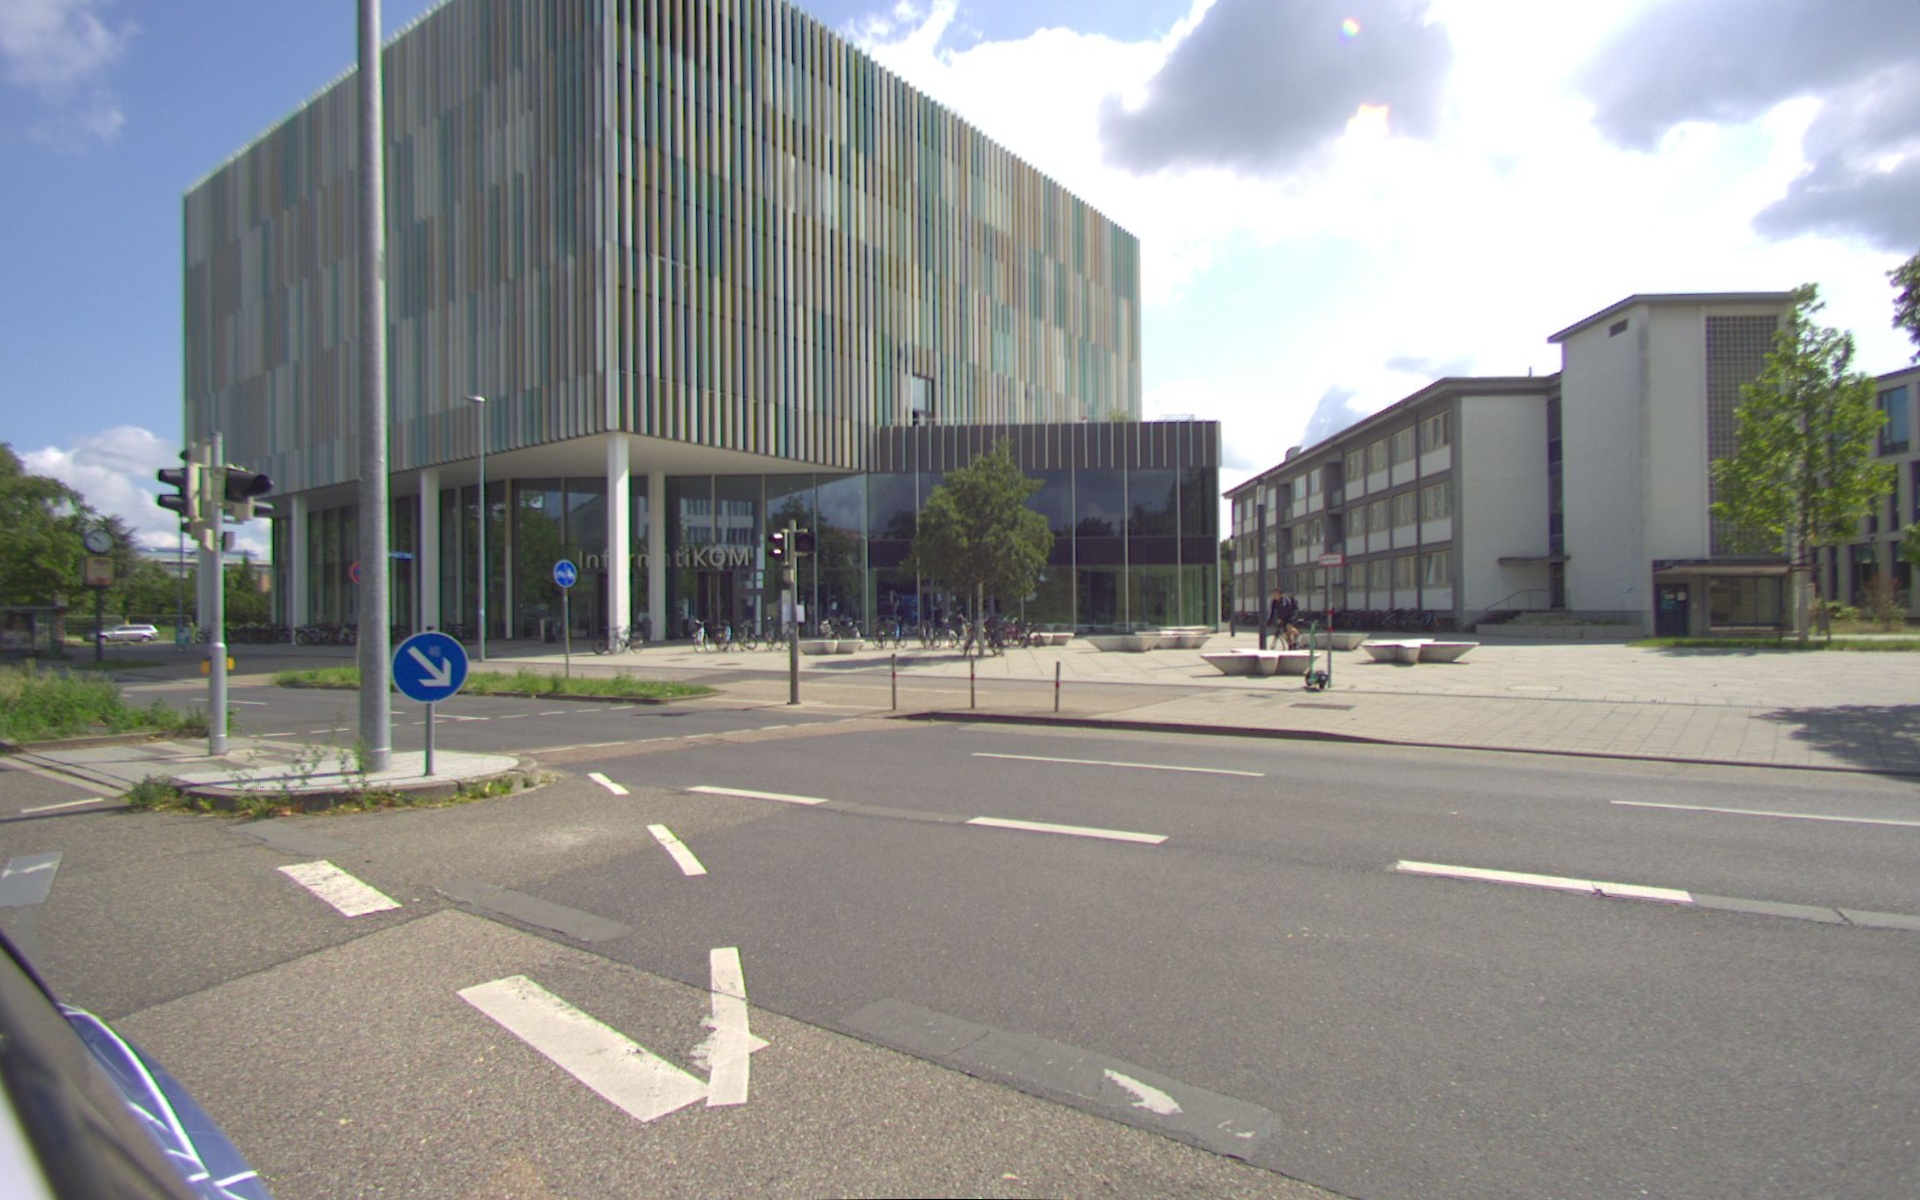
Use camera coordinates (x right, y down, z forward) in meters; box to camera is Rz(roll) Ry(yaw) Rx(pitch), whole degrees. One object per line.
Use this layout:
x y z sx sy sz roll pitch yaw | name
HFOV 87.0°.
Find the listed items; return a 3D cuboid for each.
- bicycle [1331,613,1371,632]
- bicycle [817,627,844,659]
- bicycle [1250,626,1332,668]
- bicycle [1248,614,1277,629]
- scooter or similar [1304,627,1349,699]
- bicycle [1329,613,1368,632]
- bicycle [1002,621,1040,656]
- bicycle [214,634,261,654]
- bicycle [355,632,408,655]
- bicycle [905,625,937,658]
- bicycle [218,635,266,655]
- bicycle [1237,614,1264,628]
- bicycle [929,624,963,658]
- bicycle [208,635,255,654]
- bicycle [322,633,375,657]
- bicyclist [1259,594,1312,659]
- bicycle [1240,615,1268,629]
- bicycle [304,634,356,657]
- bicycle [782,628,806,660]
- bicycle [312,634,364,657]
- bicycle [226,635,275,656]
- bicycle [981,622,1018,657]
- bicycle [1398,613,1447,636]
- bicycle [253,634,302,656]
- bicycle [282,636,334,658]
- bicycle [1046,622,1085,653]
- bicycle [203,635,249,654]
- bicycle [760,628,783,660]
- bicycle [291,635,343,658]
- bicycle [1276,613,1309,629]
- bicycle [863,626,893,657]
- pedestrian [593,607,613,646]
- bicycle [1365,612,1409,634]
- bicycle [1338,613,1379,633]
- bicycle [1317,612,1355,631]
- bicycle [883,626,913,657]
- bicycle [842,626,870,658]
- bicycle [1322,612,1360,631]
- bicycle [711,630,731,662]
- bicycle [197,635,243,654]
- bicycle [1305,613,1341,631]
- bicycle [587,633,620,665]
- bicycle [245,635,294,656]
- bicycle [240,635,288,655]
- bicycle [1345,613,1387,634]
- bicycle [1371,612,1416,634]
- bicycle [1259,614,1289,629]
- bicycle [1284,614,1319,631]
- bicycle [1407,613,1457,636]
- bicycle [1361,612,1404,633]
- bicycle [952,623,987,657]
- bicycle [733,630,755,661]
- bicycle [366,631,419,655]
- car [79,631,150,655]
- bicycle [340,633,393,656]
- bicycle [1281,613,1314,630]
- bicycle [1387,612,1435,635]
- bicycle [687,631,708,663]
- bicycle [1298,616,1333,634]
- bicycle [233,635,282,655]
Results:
21.368 1.225 55.267 1.888 1.022 0.695 -1 -1 7 | bicycle
-4.807 1.580 37.377 0.710 1.105 2.224 -1 -1 -14 | bicycle
7.658 1.080 23.413 1.745 0.899 0.640 -1 -1 -19 | bicycle
21.955 1.577 73.418 1.888 1.022 0.695 -1 -1 7 | bicycle
6.337 1.066 17.547 0.498 1.166 1.497 -2 -1 12 | scooter or similar
21.569 1.233 56.204 1.888 1.022 0.695 -1 -1 7 | bicycle
2.236 1.404 37.403 0.734 1.199 2.324 -1 -1 -13 | bicycle
-43.242 2.637 60.562 0.720 1.105 2.194 -2 -1 32 | bicycle
-28.587 2.141 50.031 0.753 1.105 2.194 -2 -1 32 | bicycle
-1.465 1.523 37.551 0.734 1.146 2.324 -1 -1 -13 | bicycle
-42.322 2.650 59.694 0.720 1.105 2.194 -2 -1 32 | bicycle
22.059 1.610 76.841 1.888 1.022 0.695 -1 -1 7 | bicycle
-0.527 1.493 37.422 0.734 1.199 2.324 -1 -1 -13 | bicycle
-44.274 2.688 61.507 0.720 1.105 2.194 -2 -1 32 | bicycle
-30.916 2.268 51.185 0.733 1.105 2.194 -2 -1 32 | bicycle
7.511 0.609 23.390 0.930 1.475 0.634 -1 -1 -19 | bicyclist
21.931 1.659 75.509 1.888 1.022 0.695 -1 -1 7 | bicycle
-32.484 2.358 52.179 0.720 1.105 2.194 -2 -1 32 | bicycle
-6.207 1.617 37.721 0.710 1.105 2.224 -1 -1 -14 | bicycle
-31.724 2.323 51.653 0.720 1.105 2.194 -2 -1 32 | bicycle
-41.361 2.637 59.021 0.720 1.105 2.194 -2 -1 32 | bicycle
1.433 1.431 37.115 0.734 1.199 2.324 -1 -1 -13 | bicycle
21.373 1.110 46.764 1.888 1.022 0.695 -1 -1 7 | bicycle
-38.377 2.524 56.938 0.720 1.105 2.194 -2 -1 32 | bicycle
-34.397 2.465 53.428 0.720 1.105 2.194 -2 -1 32 | bicycle
3.896 1.373 37.717 0.710 1.105 2.224 -1 -1 -14 | bicycle
-44.926 2.725 61.977 0.720 1.105 2.194 -2 -1 32 | bicycle
-6.992 1.619 37.517 0.710 1.105 2.224 -1 -1 -14 | bicycle
-33.567 2.406 52.865 0.720 1.105 2.194 -2 -1 32 | bicycle
21.695 1.388 66.059 1.888 1.022 0.695 -1 -1 7 | bicycle
-3.056 1.516 37.532 0.710 1.105 2.224 -1 -1 -14 | bicycle
-17.393 1.302 49.294 0.754 1.885 0.649 -1 -1 -7 | pedestrian
21.219 1.131 50.300 1.888 1.022 0.695 -1 -1 7 | bicycle
21.275 1.214 54.010 1.888 1.022 0.695 -1 -1 7 | bicycle
21.835 1.248 58.783 1.888 1.022 0.695 -1 -1 7 | bicycle
-2.317 1.527 37.717 0.710 1.105 2.224 -1 -1 -14 | bicycle
-3.847 1.539 37.424 0.710 1.105 2.224 -1 -1 -14 | bicycle
21.619 1.239 57.496 1.888 1.022 0.695 -1 -1 7 | bicycle
-8.891 1.692 37.628 0.710 1.105 2.224 -1 -1 -14 | bicycle
-45.819 2.768 62.678 0.720 1.105 2.194 -2 -1 32 | bicycle
21.500 1.295 59.939 1.888 1.022 0.695 -1 -1 7 | bicycle
-13.020 1.780 36.964 0.540 1.105 1.636 0 -1 -41 | bicycle
-39.267 2.562 57.553 0.720 1.105 2.194 -2 -1 32 | bicycle
-39.929 2.572 58.090 0.720 1.105 2.194 -2 -1 32 | bicycle
21.209 1.221 52.851 1.888 1.022 0.695 -1 -1 7 | bicycle
21.062 1.136 49.203 1.888 1.022 0.695 -1 -1 7 | bicycle
21.911 1.510 70.611 1.888 1.022 0.695 -1 -1 7 | bicycle
21.328 1.387 63.225 1.888 1.022 0.695 -1 -1 7 | bicycle
21.247 1.096 45.605 1.888 1.022 0.695 -1 -1 7 | bicycle
21.430 1.153 51.344 1.888 1.022 0.695 -1 -1 7 | bicycle
0.327 1.466 37.418 0.734 1.199 2.324 -1 -1 -13 | bicycle
-8.080 1.688 37.839 0.710 1.105 2.224 -1 -1 -14 | bicycle
-27.666 2.099 49.384 0.720 1.105 2.194 -2 -1 32 | bicycle
-65.299 3.280 78.217 1.644 1.699 3.948 -2 -1 39 | car
-29.550 2.211 50.417 0.720 1.105 2.194 -2 -1 32 | bicycle
21.577 1.369 64.783 1.888 1.022 0.695 -1 -1 7 | bicycle
21.308 1.120 47.824 1.888 1.022 0.695 -1 -1 7 | bicycle
-9.702 1.709 37.453 0.710 1.105 2.224 -1 -1 -14 | bicycle
21.529 1.514 61.274 1.888 1.022 0.695 -1 -1 7 | bicycle
-40.600 2.601 58.506 0.720 1.098 2.194 -2 -1 32 | bicycle
